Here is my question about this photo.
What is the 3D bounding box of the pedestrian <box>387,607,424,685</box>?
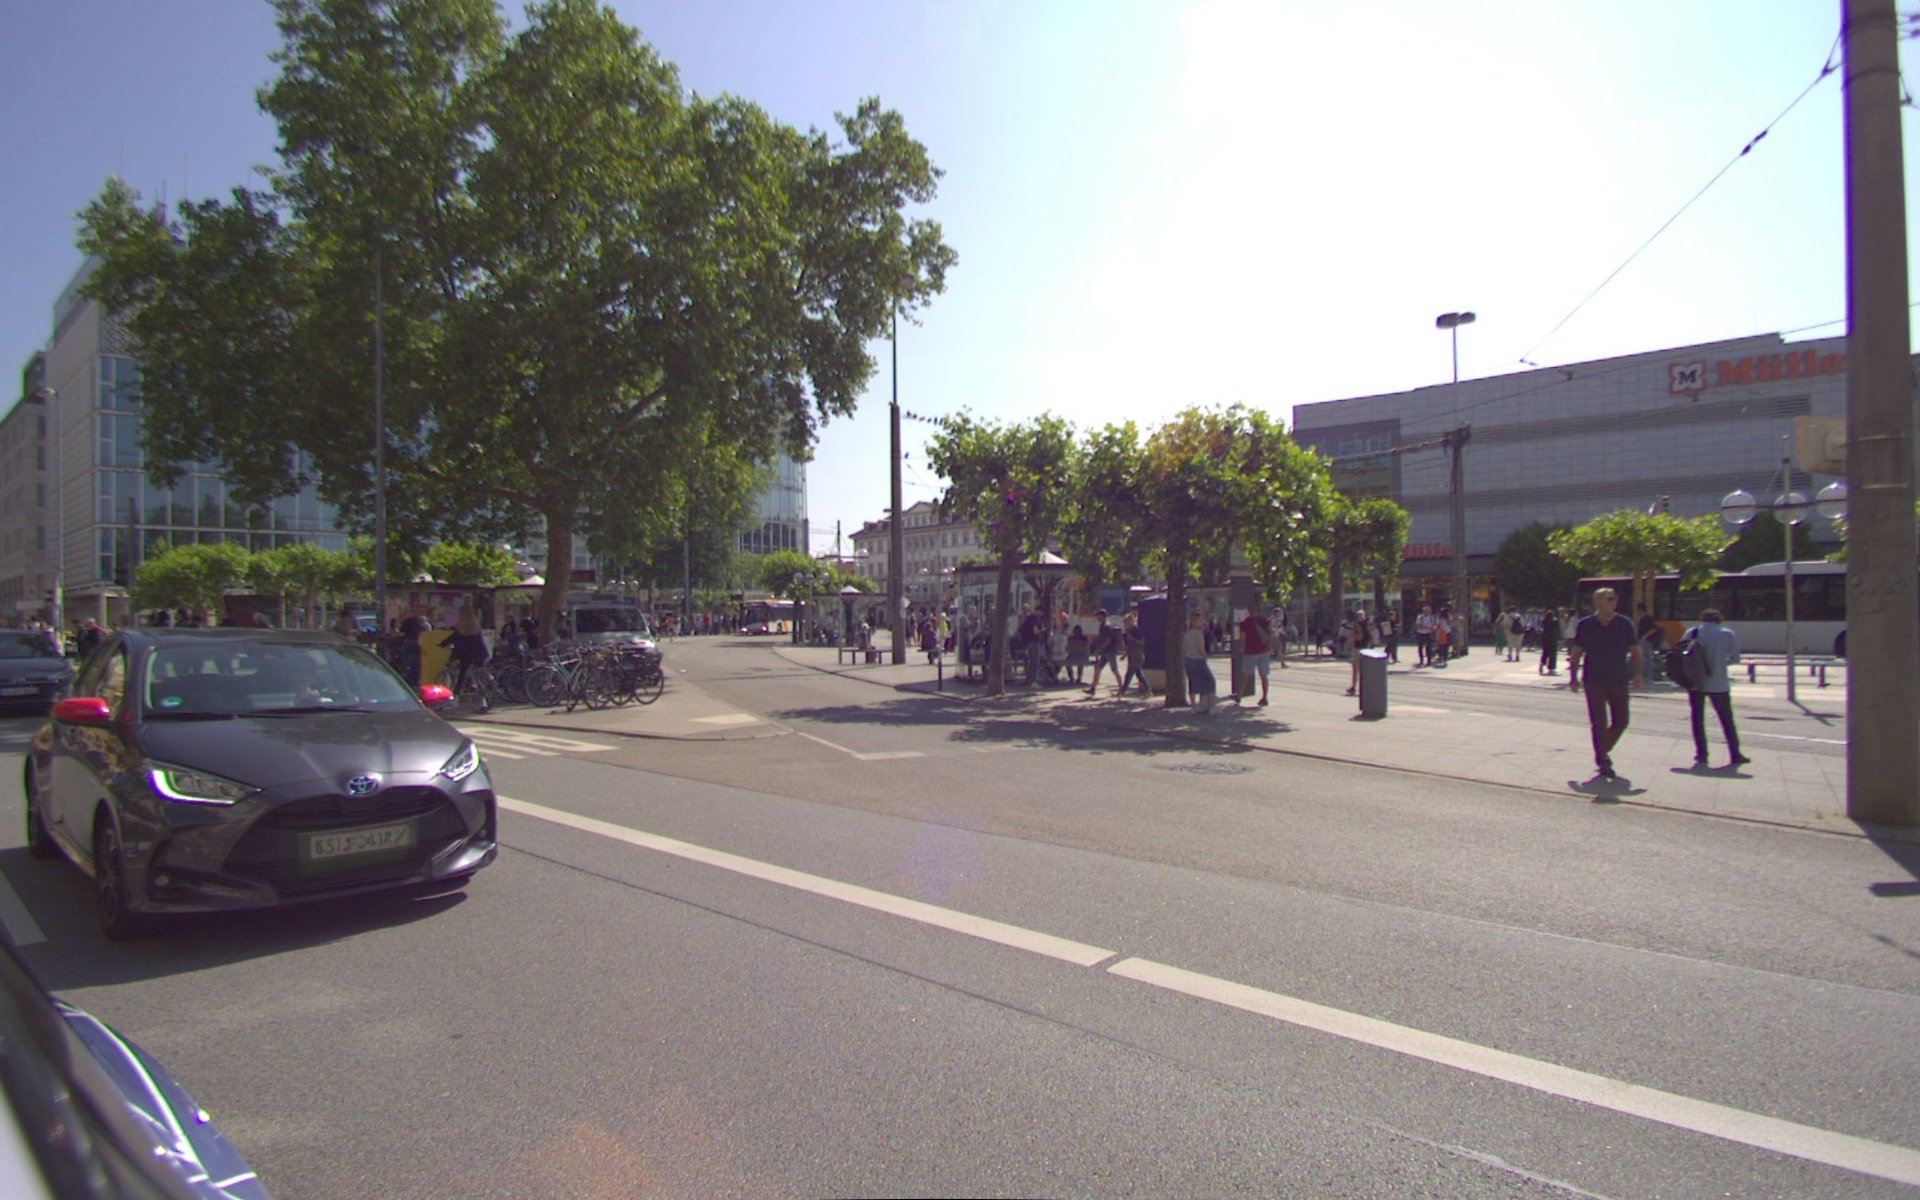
[{"bbox_3d":[-12.819,1.052,23.410,0.516,1.755,0.511,-2,0,28],"label":"pedestrian"}]

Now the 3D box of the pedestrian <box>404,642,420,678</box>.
[{"bbox_3d":[-15.619,1.709,28.838,0.334,0.974,0.282,-2,0,-19],"label":"pedestrian"}]

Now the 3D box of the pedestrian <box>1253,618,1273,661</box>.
[{"bbox_3d":[11.165,1.477,37.308,0.675,1.561,0.575,-1,-4,17],"label":"pedestrian"}]

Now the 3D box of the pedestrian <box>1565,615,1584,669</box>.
[{"bbox_3d":[17.145,1.176,28.240,0.414,1.477,0.401,-2,-4,33],"label":"pedestrian"}]

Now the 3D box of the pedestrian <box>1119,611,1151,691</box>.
[{"bbox_3d":[3.862,1.136,22.344,0.508,1.732,0.476,-3,-5,41],"label":"pedestrian"}]

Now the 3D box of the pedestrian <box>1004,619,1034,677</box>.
[{"bbox_3d":[1.540,1.252,26.399,0.580,1.477,0.557,2,-4,-28],"label":"pedestrian"}]

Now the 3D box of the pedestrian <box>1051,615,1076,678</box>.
[{"bbox_3d":[2.968,1.346,29.041,0.485,1.791,0.519,-3,-5,40],"label":"pedestrian"}]

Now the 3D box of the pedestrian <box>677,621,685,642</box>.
[{"bbox_3d":[-20.806,2.360,75.458,0.546,1.483,0.760,-2,0,-13],"label":"pedestrian"}]

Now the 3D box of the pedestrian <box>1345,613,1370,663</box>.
[{"bbox_3d":[12.921,1.244,32.918,0.675,1.610,0.621,-1,-4,19],"label":"pedestrian"}]

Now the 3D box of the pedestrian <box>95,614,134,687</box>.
[{"bbox_3d":[-20.945,1.236,25.069,0.752,1.760,0.605,-2,-1,39],"label":"pedestrian"}]

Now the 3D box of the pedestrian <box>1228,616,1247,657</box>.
[{"bbox_3d":[10.474,1.385,38.214,0.675,1.561,0.575,-1,-4,17],"label":"pedestrian"}]

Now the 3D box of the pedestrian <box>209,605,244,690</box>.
[{"bbox_3d":[-16.397,1.048,22.618,0.510,1.849,0.716,-2,0,-41],"label":"pedestrian"}]

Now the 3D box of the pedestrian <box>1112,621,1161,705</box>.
[{"bbox_3d":[3.292,1.169,18.857,0.680,1.536,0.616,-3,-5,41],"label":"pedestrian"}]

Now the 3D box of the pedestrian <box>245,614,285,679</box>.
[{"bbox_3d":[-19.557,1.297,28.476,0.666,1.760,0.742,-2,0,39],"label":"pedestrian"}]

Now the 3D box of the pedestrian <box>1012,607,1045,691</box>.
[{"bbox_3d":[1.503,1.082,22.238,0.671,1.808,0.625,0,-4,-1],"label":"pedestrian"}]

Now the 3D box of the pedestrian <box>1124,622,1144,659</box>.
[{"bbox_3d":[7.516,1.752,43.794,0.568,1.561,0.682,2,-4,-22],"label":"pedestrian"}]

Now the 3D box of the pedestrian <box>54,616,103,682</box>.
[{"bbox_3d":[-24.348,1.341,27.954,0.732,1.760,0.865,-2,0,39],"label":"pedestrian"}]

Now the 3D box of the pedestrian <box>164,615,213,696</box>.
[{"bbox_3d":[-16.594,1.177,21.775,0.620,1.661,0.754,-2,0,-23],"label":"pedestrian"}]

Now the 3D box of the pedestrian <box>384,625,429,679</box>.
[{"bbox_3d":[-15.034,1.409,27.482,0.780,1.418,0.744,-2,0,31],"label":"pedestrian"}]

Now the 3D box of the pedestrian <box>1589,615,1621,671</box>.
[{"bbox_3d":[17.455,1.168,27.381,0.585,1.477,0.522,-1,-4,21],"label":"pedestrian"}]

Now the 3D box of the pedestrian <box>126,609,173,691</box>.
[{"bbox_3d":[-18.268,1.118,22.830,0.529,1.796,0.745,-2,0,-14],"label":"pedestrian"}]

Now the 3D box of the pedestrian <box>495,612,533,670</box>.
[{"bbox_3d":[-13.914,1.260,31.565,0.780,1.760,0.744,-2,0,31],"label":"pedestrian"}]

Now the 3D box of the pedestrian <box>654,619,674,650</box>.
[{"bbox_3d":[-17.561,2.058,60.089,0.780,1.760,0.744,-2,0,31],"label":"pedestrian"}]

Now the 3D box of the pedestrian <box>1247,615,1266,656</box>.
[{"bbox_3d":[11.291,1.355,38.502,0.675,1.561,0.575,-1,-4,17],"label":"pedestrian"}]

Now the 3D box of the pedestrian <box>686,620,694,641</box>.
[{"bbox_3d":[-20.142,2.267,75.457,0.546,1.483,0.760,-2,0,-13],"label":"pedestrian"}]

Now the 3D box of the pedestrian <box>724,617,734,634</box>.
[{"bbox_3d":[-20.558,2.261,90.212,0.745,1.483,0.557,-2,0,-22],"label":"pedestrian"}]

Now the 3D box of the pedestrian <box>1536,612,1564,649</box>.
[{"bbox_3d":[25.282,1.311,43.358,0.840,1.561,0.677,-1,-4,14],"label":"pedestrian"}]

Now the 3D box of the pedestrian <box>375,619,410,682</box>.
[{"bbox_3d":[-16.441,1.436,29.328,0.739,1.760,0.785,-2,0,-23],"label":"pedestrian"}]

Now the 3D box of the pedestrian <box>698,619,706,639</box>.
[{"bbox_3d":[-20.095,2.244,78.820,0.546,1.483,0.760,-2,0,-13],"label":"pedestrian"}]

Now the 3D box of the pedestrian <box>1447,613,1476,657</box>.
[{"bbox_3d":[17.064,1.208,34.476,0.672,1.477,0.623,0,-4,7],"label":"pedestrian"}]

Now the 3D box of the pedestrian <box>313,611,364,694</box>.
[{"bbox_3d":[-13.079,1.092,21.290,0.640,1.704,0.637,-2,0,28],"label":"pedestrian"}]

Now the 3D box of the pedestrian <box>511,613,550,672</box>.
[{"bbox_3d":[-13.181,1.286,31.037,0.780,1.760,0.744,-2,0,31],"label":"pedestrian"}]

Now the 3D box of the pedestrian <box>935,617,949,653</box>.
[{"bbox_3d":[-0.748,1.460,42.111,0.395,1.483,0.405,-2,0,-42],"label":"pedestrian"}]

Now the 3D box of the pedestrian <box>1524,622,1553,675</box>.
[{"bbox_3d":[16.378,1.380,28.652,0.621,1.477,0.674,-1,-4,25],"label":"pedestrian"}]

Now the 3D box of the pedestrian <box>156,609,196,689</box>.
[{"bbox_3d":[-18.631,1.157,24.052,0.738,1.860,0.587,-2,-3,39],"label":"pedestrian"}]

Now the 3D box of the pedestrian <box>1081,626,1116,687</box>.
[{"bbox_3d":[3.201,1.310,23.416,0.670,1.381,0.804,0,-4,-3],"label":"pedestrian"}]

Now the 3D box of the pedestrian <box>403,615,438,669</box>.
[{"bbox_3d":[-18.201,1.404,34.141,0.782,1.760,0.742,-2,0,39],"label":"pedestrian"}]

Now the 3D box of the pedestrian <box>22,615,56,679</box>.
[{"bbox_3d":[-28.480,1.436,31.295,0.732,1.928,0.631,-2,0,39],"label":"pedestrian"}]

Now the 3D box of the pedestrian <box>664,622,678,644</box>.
[{"bbox_3d":[-20.285,2.298,71.057,0.757,1.483,0.548,-2,0,40],"label":"pedestrian"}]

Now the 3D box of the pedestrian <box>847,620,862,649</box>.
[{"bbox_3d":[-5.490,1.792,52.536,0.547,1.483,0.533,-2,0,-42],"label":"pedestrian"}]

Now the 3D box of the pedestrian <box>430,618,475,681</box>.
[{"bbox_3d":[-13.522,1.306,26.982,0.780,1.608,0.744,-2,0,31],"label":"pedestrian"}]

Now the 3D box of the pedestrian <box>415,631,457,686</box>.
[{"bbox_3d":[-14.152,1.566,27.349,0.671,1.435,0.744,-2,0,31],"label":"pedestrian"}]

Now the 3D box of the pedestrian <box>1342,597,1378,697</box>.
[{"bbox_3d":[8.313,0.965,21.014,0.563,2.023,0.686,-1,-1,32],"label":"pedestrian"}]

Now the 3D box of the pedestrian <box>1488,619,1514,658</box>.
[{"bbox_3d":[20.771,1.497,38.873,0.672,1.477,0.623,0,-4,7],"label":"pedestrian"}]
